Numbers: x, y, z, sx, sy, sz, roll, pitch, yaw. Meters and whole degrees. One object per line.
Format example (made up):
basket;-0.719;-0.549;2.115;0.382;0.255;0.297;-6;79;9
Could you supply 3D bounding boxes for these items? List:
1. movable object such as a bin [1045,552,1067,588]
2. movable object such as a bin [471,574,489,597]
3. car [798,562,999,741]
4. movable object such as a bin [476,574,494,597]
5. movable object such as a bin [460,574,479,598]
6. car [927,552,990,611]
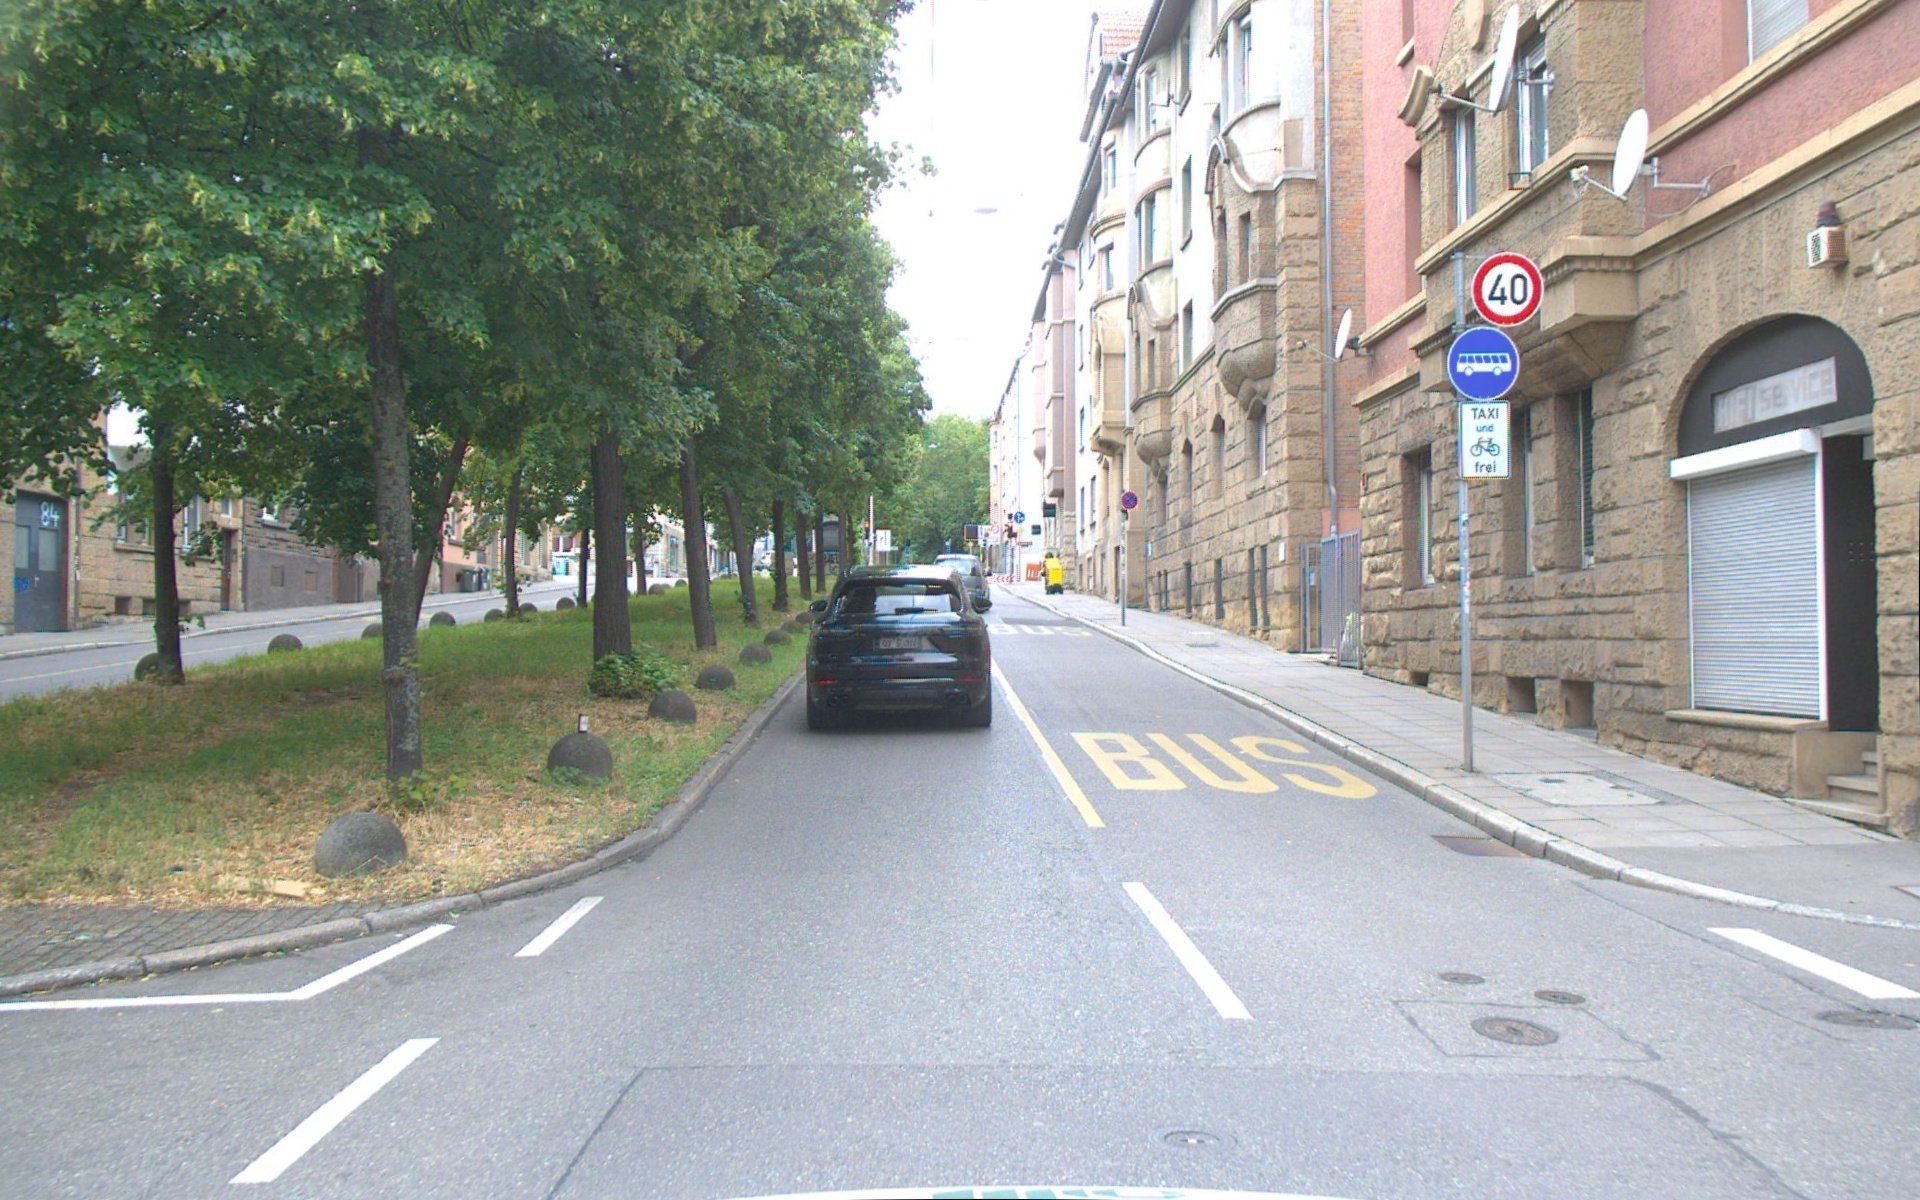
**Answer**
movable object such as a bin;3.971;-1.232;68.358;0.705;1.445;1.692;-1;0;-3
movable object such as a bin;-19.043;-0.585;65.605;0.597;0.920;0.601;0;1;-5
car;-0.629;0.466;18.410;1.954;1.681;4.000;-1;2;-1
movable object such as a bin;-19.050;-0.597;66.341;0.597;0.920;0.601;0;1;-5
movable object such as a bin;-19.057;-0.557;64.240;0.597;0.920;0.601;0;1;-5
car;-0.069;-0.541;47.360;1.716;1.621;3.630;0;1;-1
